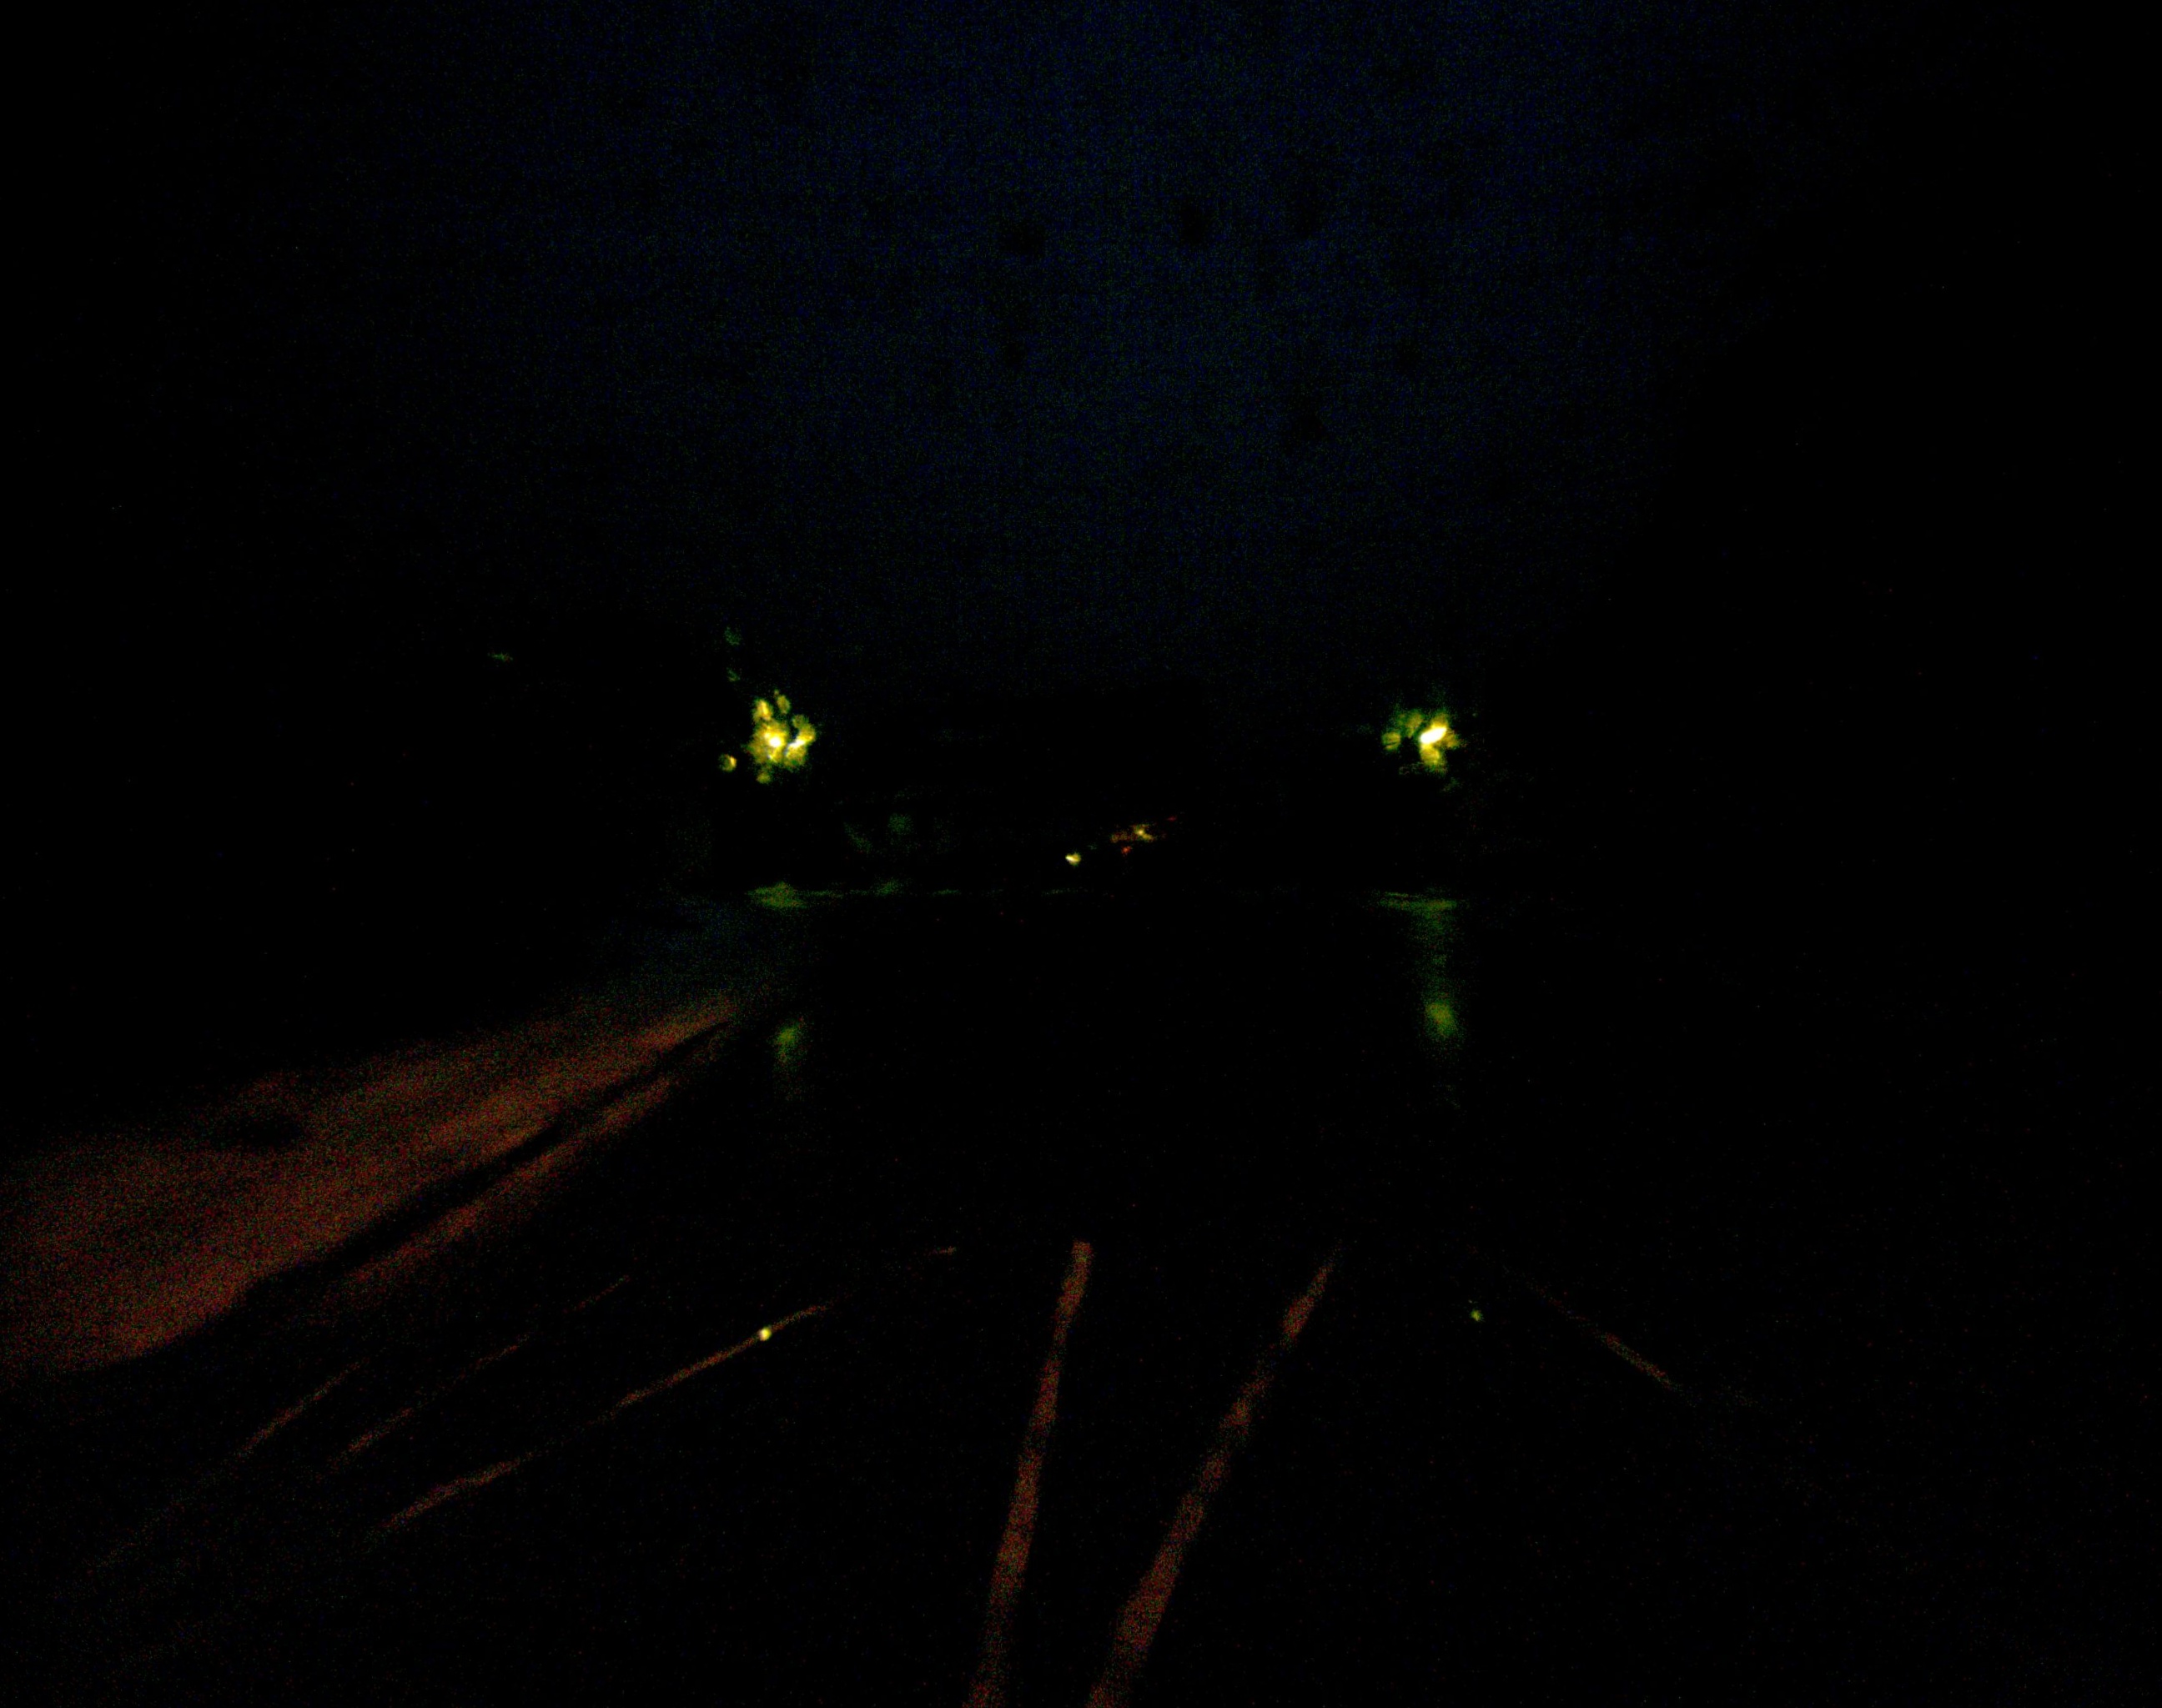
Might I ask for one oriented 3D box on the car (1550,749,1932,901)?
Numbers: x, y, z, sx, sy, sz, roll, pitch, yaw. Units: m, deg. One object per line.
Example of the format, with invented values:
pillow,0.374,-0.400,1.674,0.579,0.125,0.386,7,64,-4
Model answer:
car,14.647,-0.430,17.531,2.003,2.536,6.108,-2,-5,-28
